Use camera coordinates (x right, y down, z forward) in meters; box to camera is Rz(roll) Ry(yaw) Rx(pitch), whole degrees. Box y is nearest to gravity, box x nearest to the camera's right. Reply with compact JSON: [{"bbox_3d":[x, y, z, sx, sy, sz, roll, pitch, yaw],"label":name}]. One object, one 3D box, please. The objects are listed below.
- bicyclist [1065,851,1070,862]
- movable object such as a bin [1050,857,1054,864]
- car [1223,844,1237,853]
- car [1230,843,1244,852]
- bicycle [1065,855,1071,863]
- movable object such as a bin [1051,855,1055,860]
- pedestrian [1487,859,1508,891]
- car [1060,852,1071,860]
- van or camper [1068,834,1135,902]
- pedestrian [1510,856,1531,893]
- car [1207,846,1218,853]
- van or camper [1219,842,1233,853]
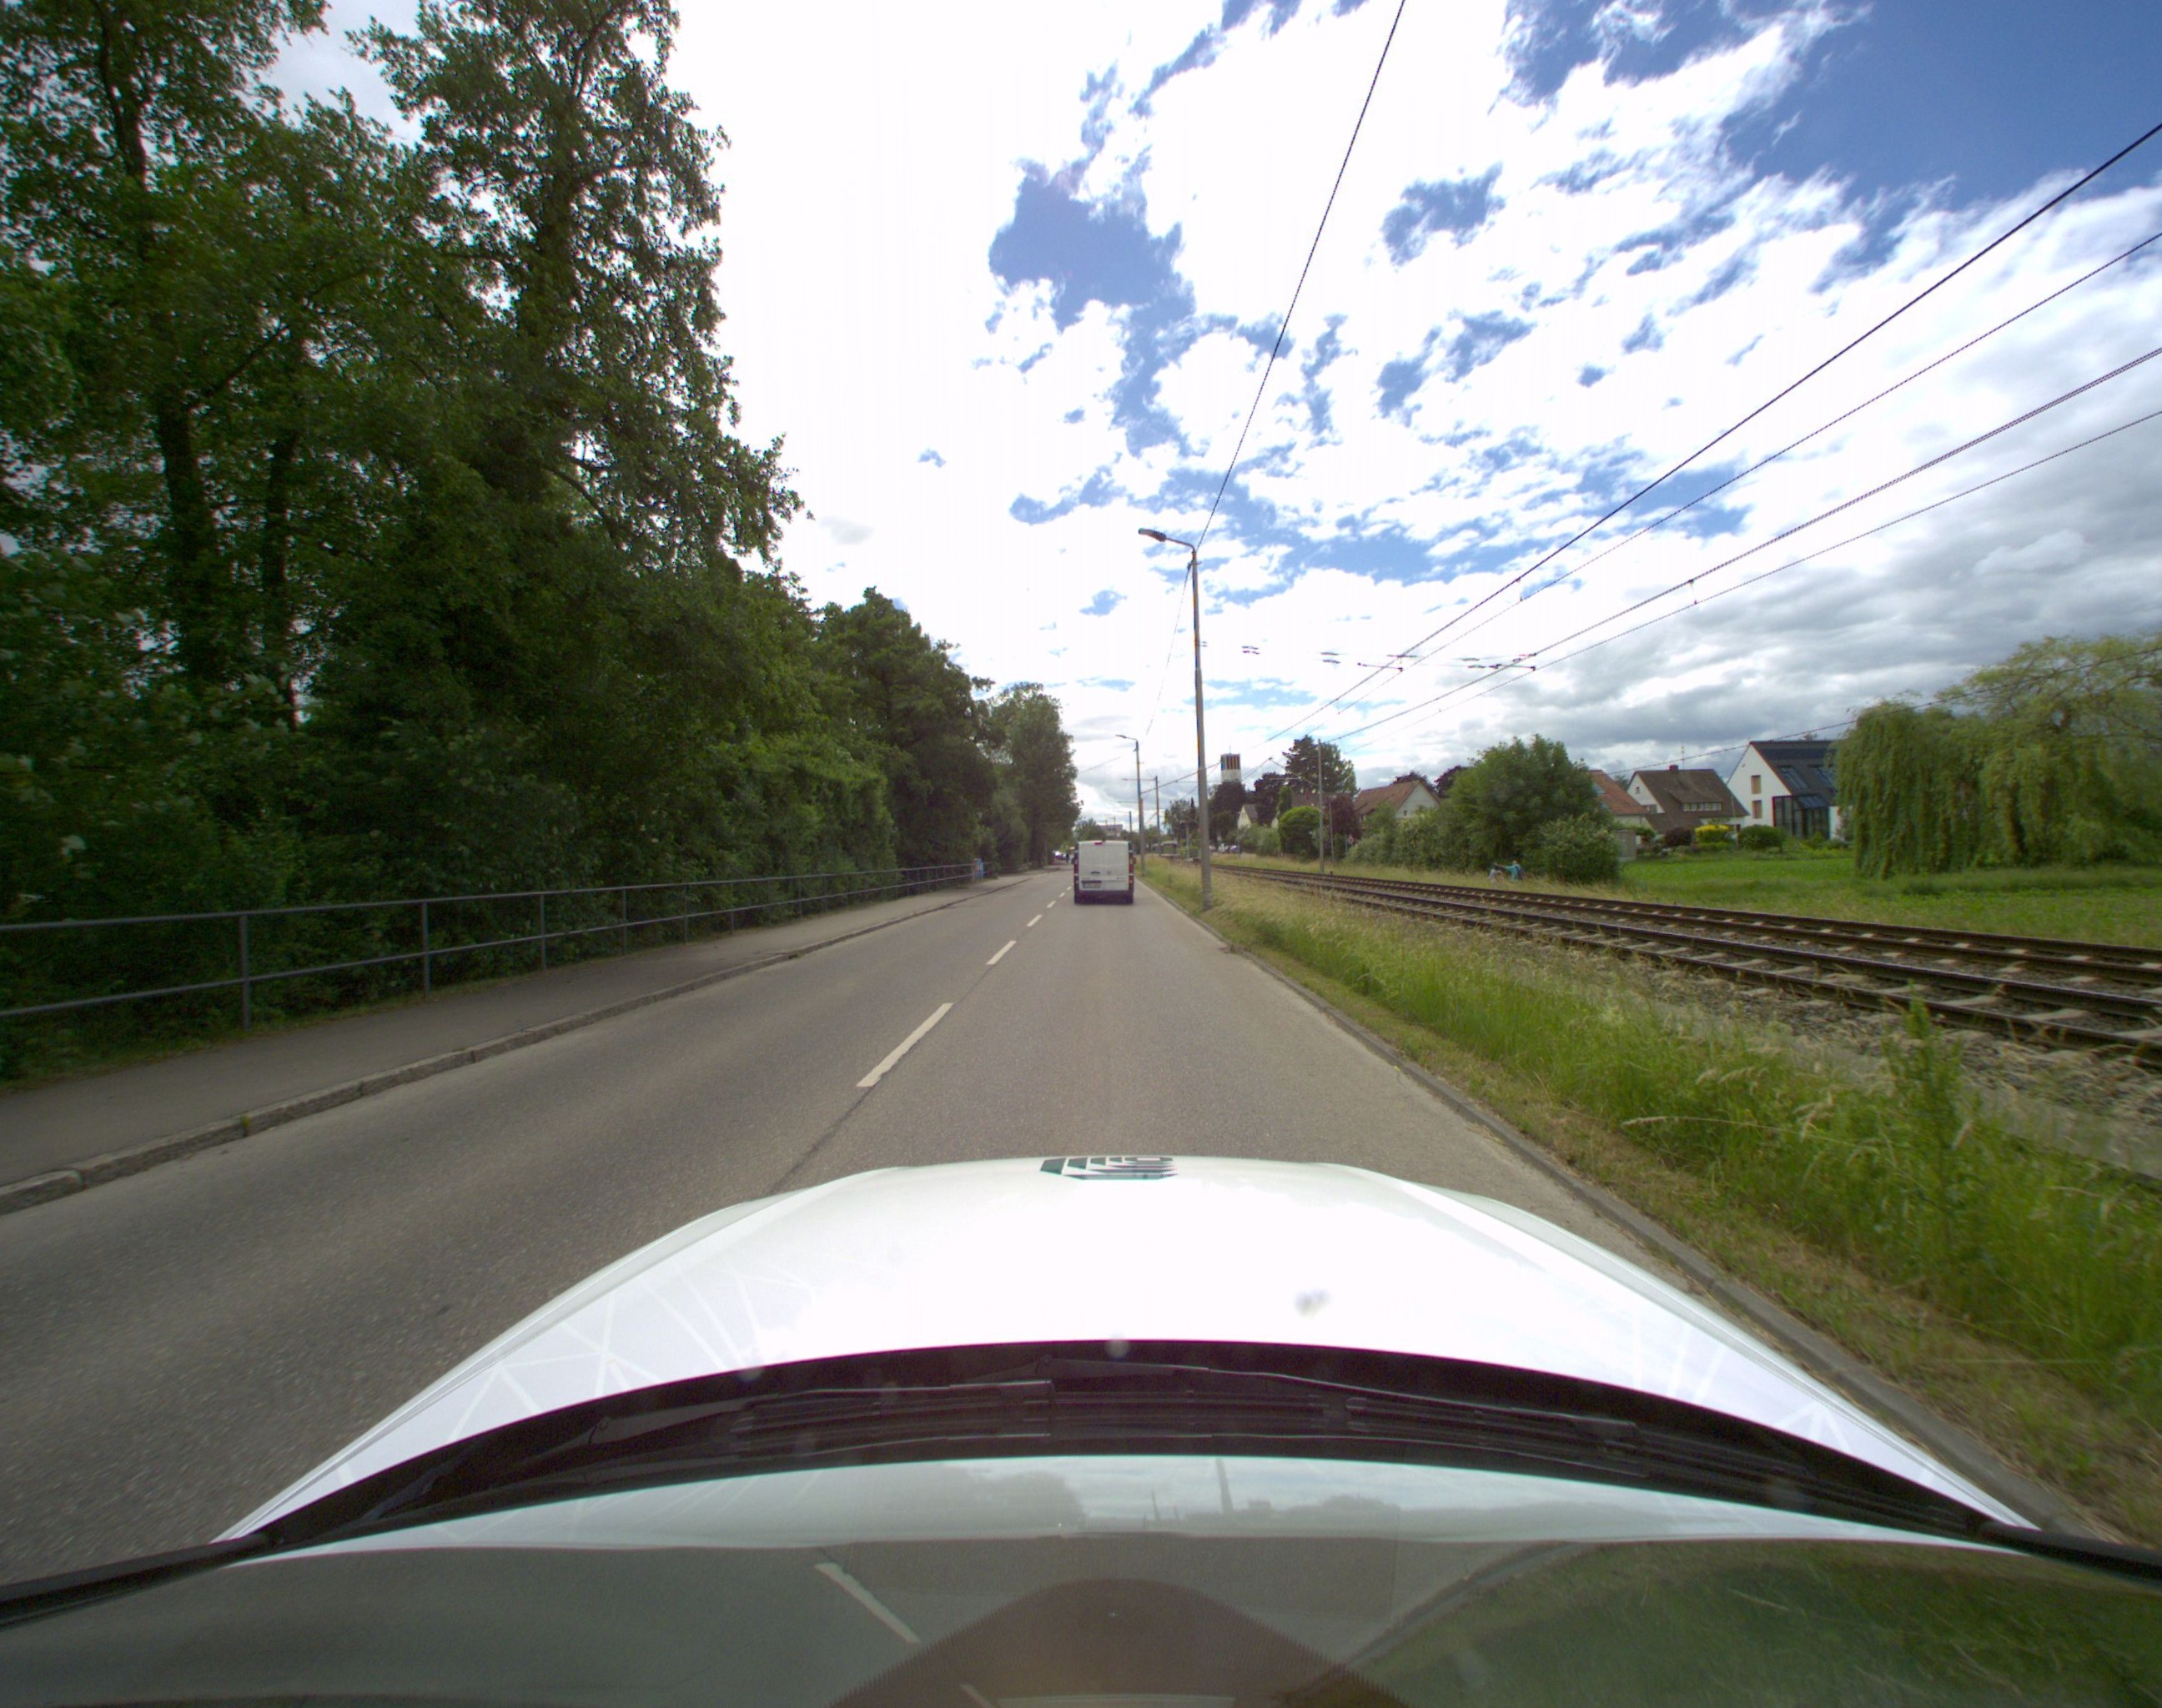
[{"bbox_3d":[-2.041,0.384,124.211,0.775,1.549,0.870,-2,0,1],"label":"bicyclist"},{"bbox_3d":[-4.252,0.941,119.500,0.512,0.945,0.568,-1,0,1],"label":"movable object such as a bin"},{"bbox_3d":[27.320,-1.046,149.567,1.876,1.522,4.003,-2,0,2],"label":"car"},{"bbox_3d":[27.424,-1.173,143.490,1.876,1.522,4.003,-2,0,2],"label":"car"},{"bbox_3d":[-2.045,0.747,124.046,0.752,1.226,2.309,-4,0,1],"label":"bicycle"},{"bbox_3d":[-5.055,0.606,146.947,0.463,0.930,0.428,2,-1,-16],"label":"movable object such as a bin"},{"bbox_3d":[18.781,0.945,36.734,0.595,1.430,0.667,0,0,2],"label":"pedestrian"},{"bbox_3d":[-3.152,0.394,166.304,1.734,1.504,4.470,-4,0,-5],"label":"car"},{"bbox_3d":[0.690,0.425,26.604,1.986,2.014,4.448,-1,0,2],"label":"van or camper"},{"bbox_3d":[19.761,0.911,36.617,0.614,1.622,0.584,0,0,2],"label":"pedestrian"},{"bbox_3d":[28.430,-0.983,176.220,1.876,1.522,4.003,-2,0,2],"label":"car"},{"bbox_3d":[27.439,-1.222,154.208,1.898,1.826,5.051,-2,0,2],"label":"van or camper"}]
